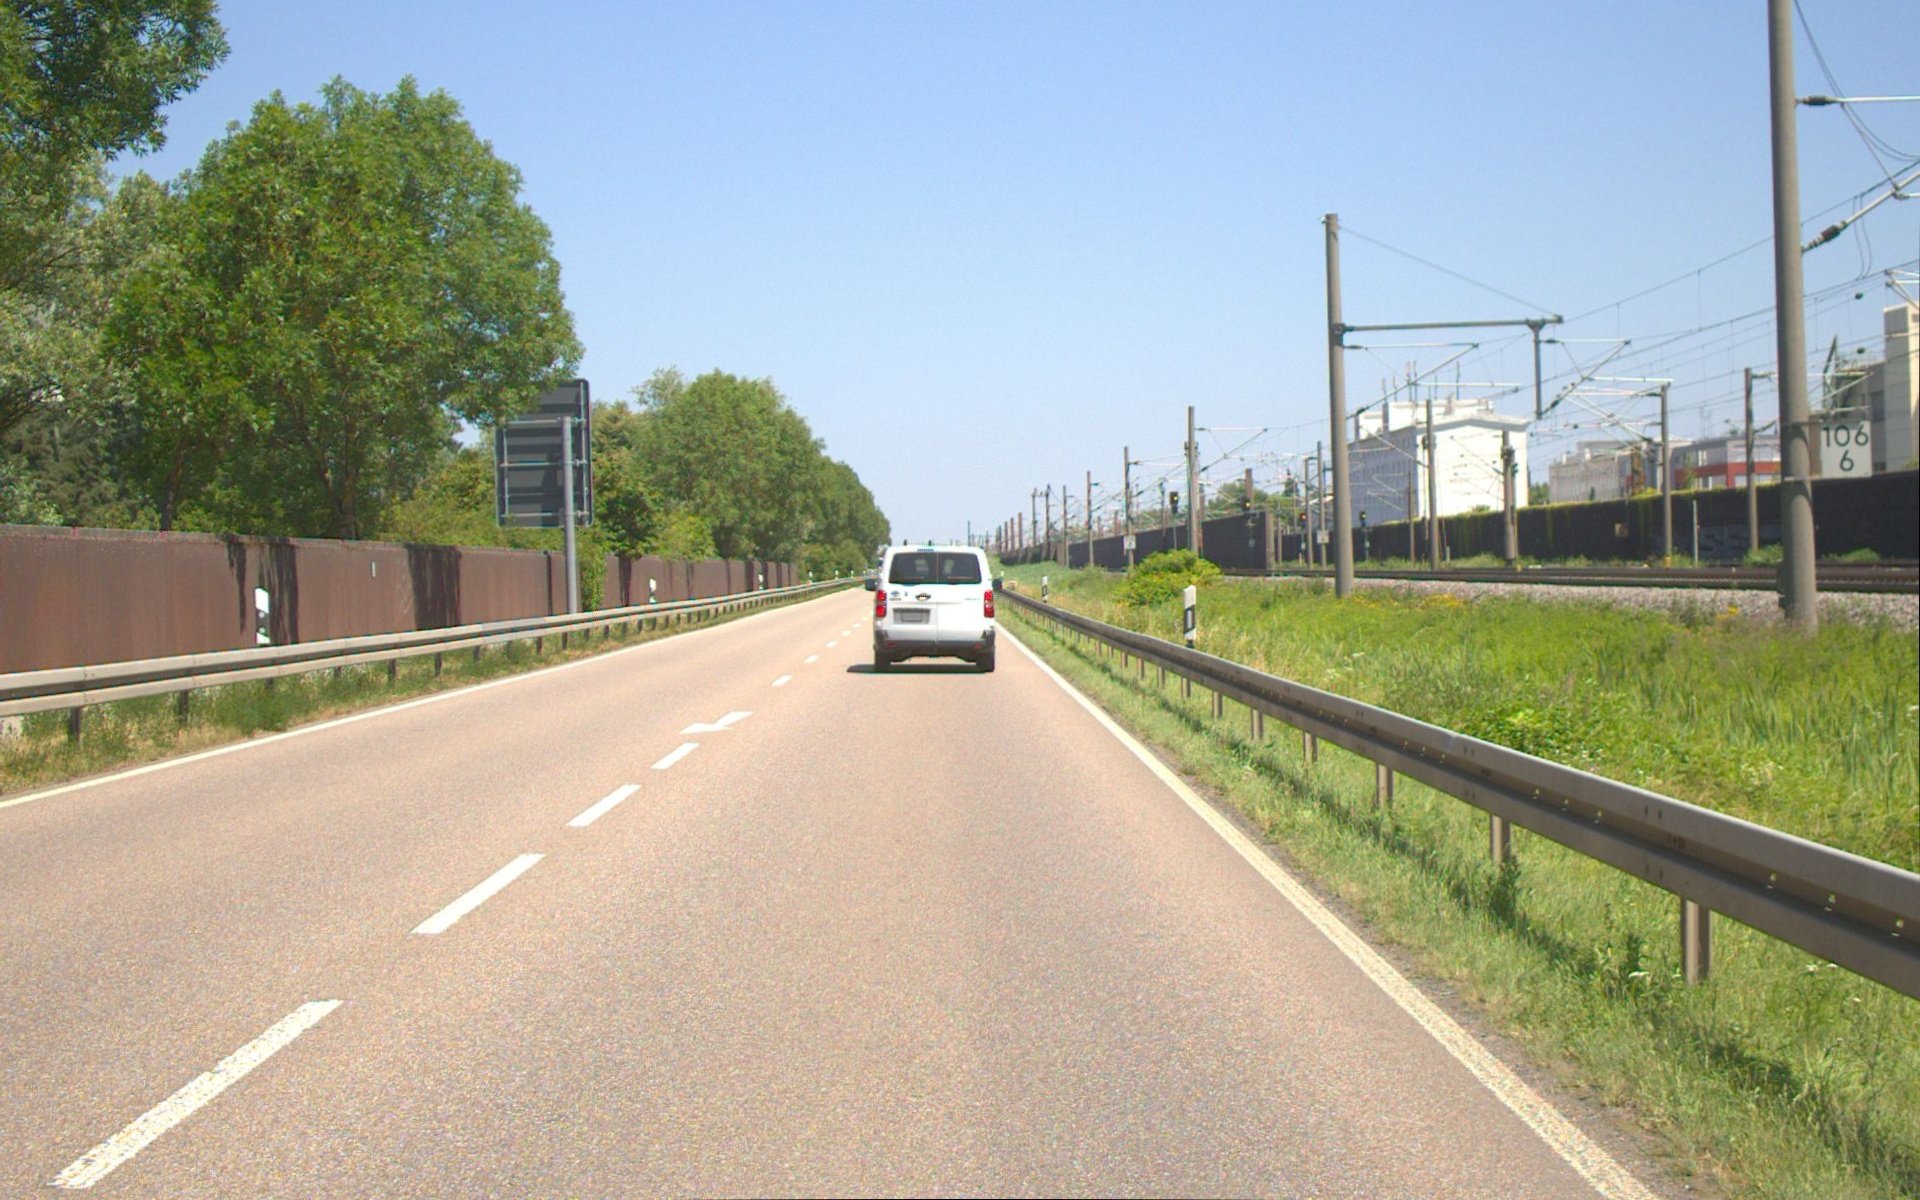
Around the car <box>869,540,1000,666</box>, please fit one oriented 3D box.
[{"bbox_3d":[-0.396,0.035,53.626,1.946,1.875,4.881,0,0,0],"label":"car"}]
